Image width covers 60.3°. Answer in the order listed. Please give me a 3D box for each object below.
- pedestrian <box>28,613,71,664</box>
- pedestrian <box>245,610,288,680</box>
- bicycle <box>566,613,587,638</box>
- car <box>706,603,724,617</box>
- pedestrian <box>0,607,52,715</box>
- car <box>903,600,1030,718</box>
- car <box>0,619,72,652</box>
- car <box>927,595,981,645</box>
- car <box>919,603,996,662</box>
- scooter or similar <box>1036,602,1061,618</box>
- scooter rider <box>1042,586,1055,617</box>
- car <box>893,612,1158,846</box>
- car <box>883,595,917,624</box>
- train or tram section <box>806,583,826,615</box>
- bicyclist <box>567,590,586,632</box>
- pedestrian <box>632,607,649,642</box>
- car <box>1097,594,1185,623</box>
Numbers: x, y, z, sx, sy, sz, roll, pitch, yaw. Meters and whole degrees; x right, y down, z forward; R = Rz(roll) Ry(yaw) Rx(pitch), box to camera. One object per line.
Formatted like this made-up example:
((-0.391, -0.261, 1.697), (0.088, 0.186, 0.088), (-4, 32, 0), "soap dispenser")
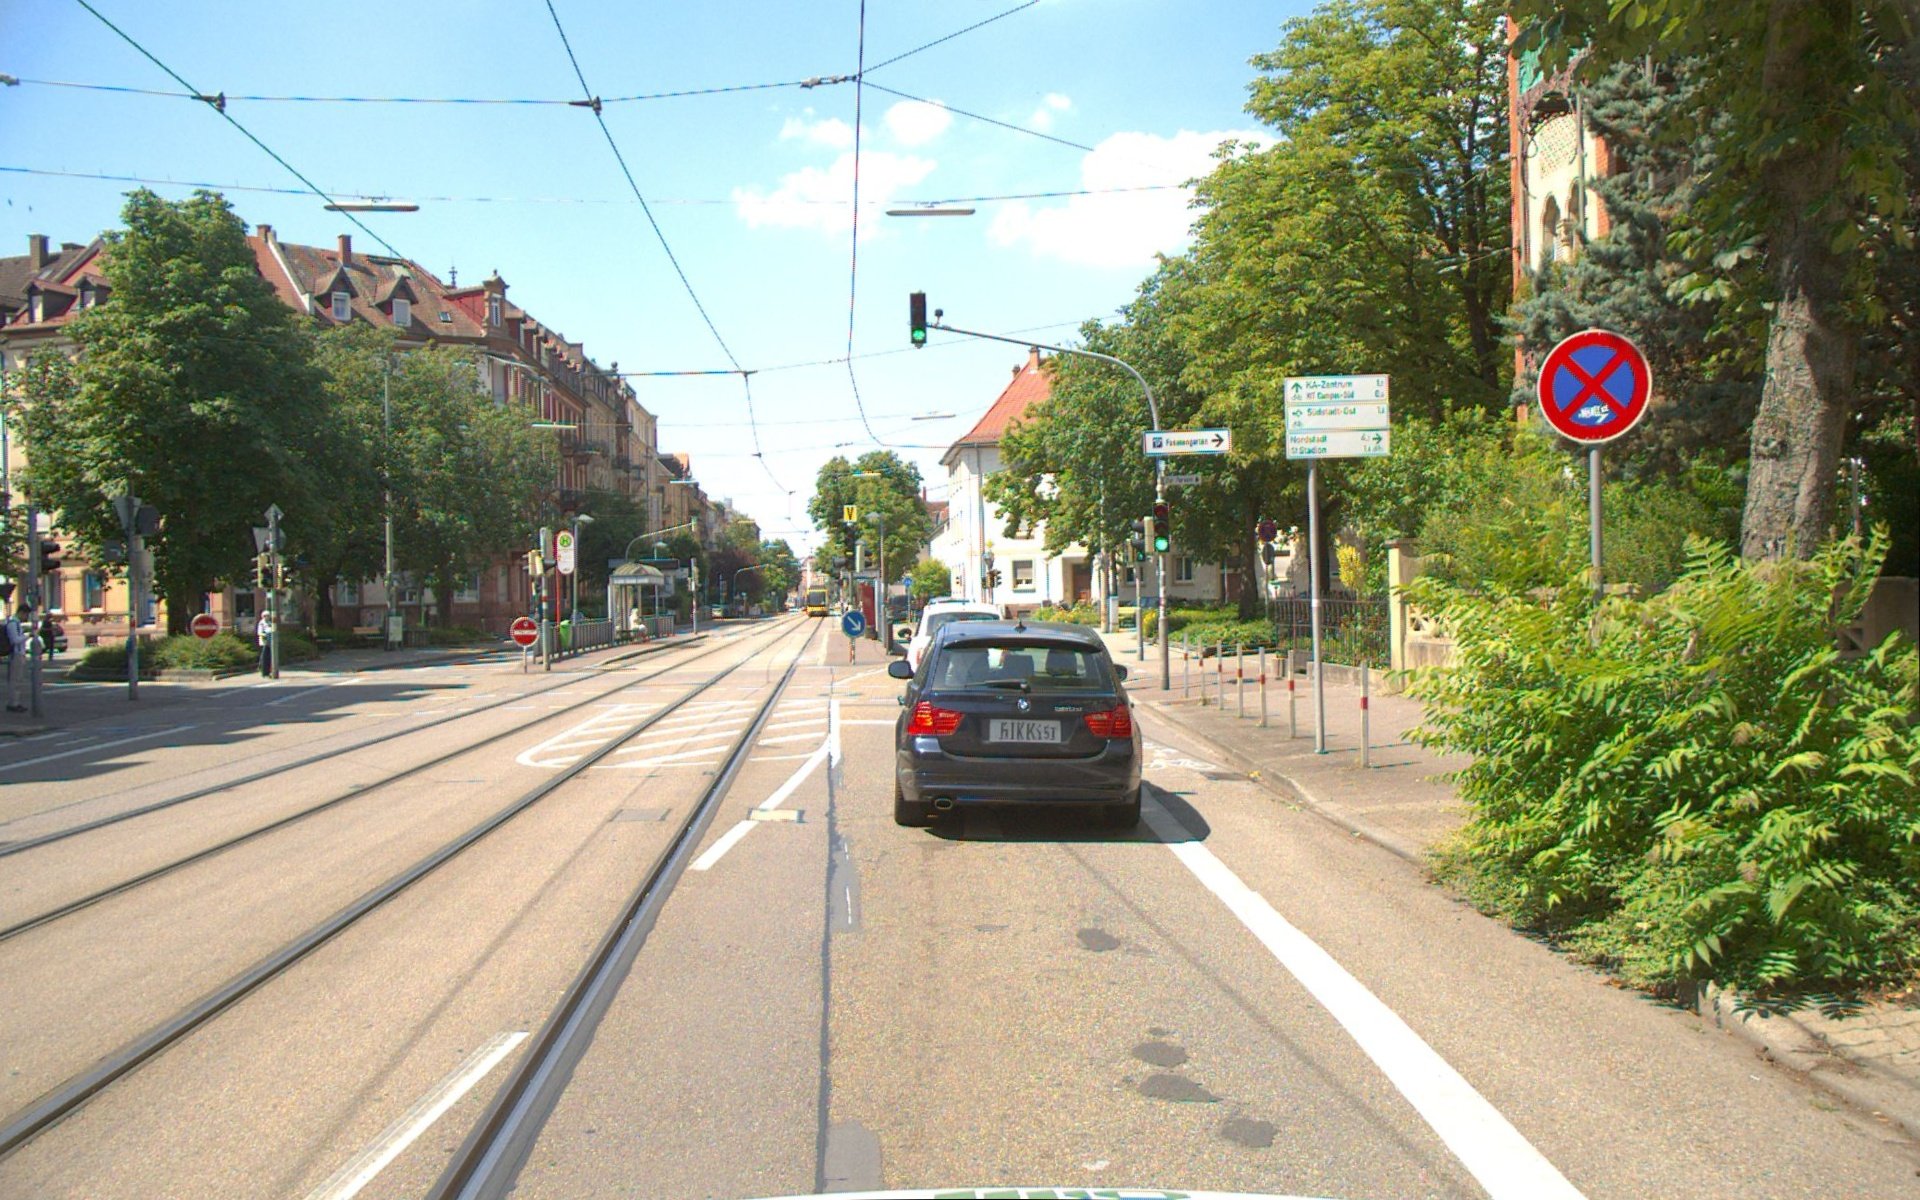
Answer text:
((-34.771, 1.451, 63.170), (0.978, 1.901, 1.018), (-1, 0, 7), "pedestrian")
((-17.730, 1.143, 42.292), (0.830, 1.753, 0.908), (-1, 0, -35), "pedestrian")
((-17.693, 1.152, 76.294), (0.715, 1.121, 1.713), (-1, 0, -6), "bicycle")
((-27.574, 1.127, 186.083), (1.756, 1.614, 3.987), (0, -1, -13), "car")
((-15.764, 1.007, 27.581), (0.842, 1.763, 0.775), (0, 0, -3), "pedestrian")
((0.073, 0.781, 23.774), (1.651, 1.510, 3.684), (-2, 0, 0), "car")
((-45.110, 1.728, 80.301), (3.388, 1.497, 1.685), (-2, 0, 20), "car")
((-0.228, 0.633, 54.251), (1.657, 1.540, 3.819), (-1, 0, -2), "car")
((-0.107, 0.772, 40.842), (1.658, 1.346, 3.818), (-1, 0, -4), "car")
((4.930, 0.578, 92.139), (1.288, 0.852, 0.525), (-1, 0, -10), "scooter or similar")
((4.909, 0.074, 92.129), (0.580, 1.716, 0.527), (-1, 0, -10), "scooter rider")
((0.453, 0.846, 12.933), (1.687, 1.433, 4.565), (1, 0, 1), "car")
((-4.121, 0.628, 113.080), (1.956, 1.881, 3.993), (-2, 0, -8), "car")
((-16.526, -0.169, 190.108), (2.147, 3.543, 8.836), (-2, 0, -5), "train or tram section")
((-17.658, 0.495, 76.213), (0.708, 1.903, 0.824), (-1, 0, -5), "bicyclist")
((-12.050, 0.919, 62.408), (0.602, 1.264, 0.626), (-1, 0, -10), "pedestrian")
((8.753, 0.417, 80.088), (3.913, 1.265, 1.620), (-2, 0, 31), "car")
